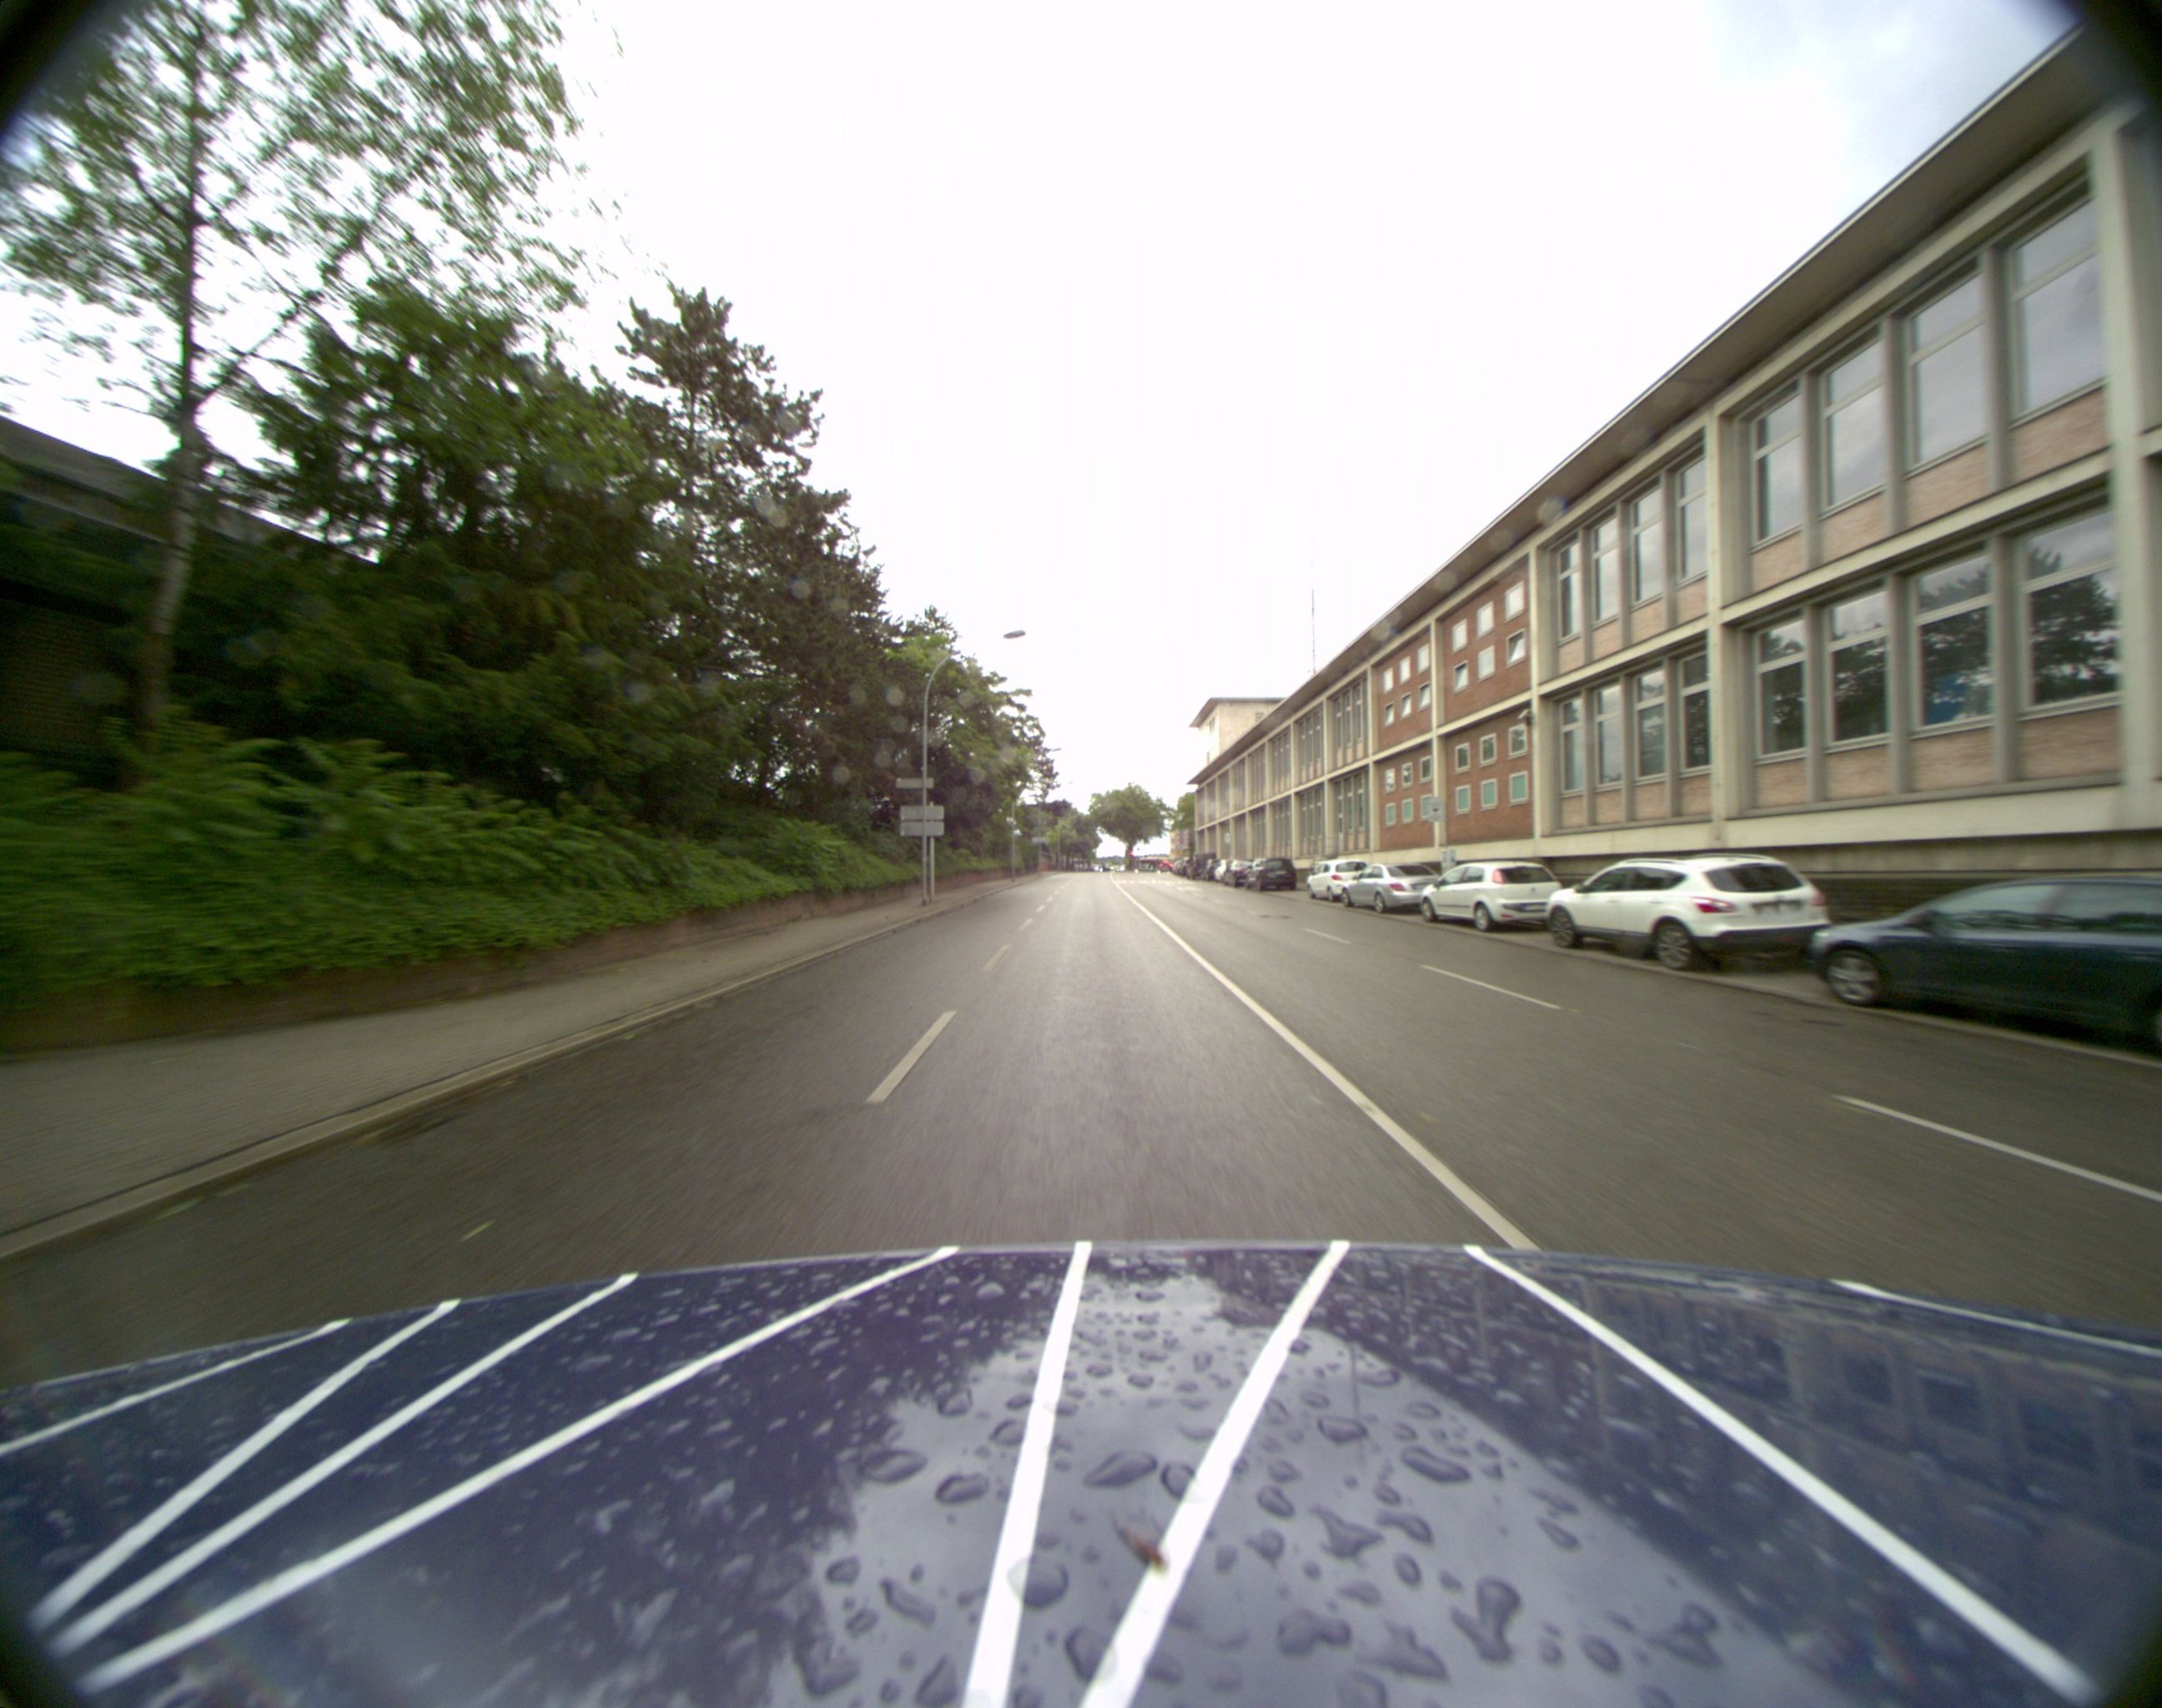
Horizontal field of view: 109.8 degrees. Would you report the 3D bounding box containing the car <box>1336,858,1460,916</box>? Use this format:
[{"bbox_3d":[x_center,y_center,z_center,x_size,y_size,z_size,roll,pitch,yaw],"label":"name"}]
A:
[{"bbox_3d":[9.327,0.904,22.766,1.752,1.427,4.485,-2,0,-1],"label":"car"}]

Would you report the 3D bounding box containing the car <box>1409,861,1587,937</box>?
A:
[{"bbox_3d":[9.417,0.945,17.589,1.752,1.445,4.181,-2,0,-1],"label":"car"}]

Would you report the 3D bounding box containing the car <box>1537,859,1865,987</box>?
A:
[{"bbox_3d":[9.355,0.915,12.022,1.752,1.588,4.181,-2,0,0],"label":"car"}]

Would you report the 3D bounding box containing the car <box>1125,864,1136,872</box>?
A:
[{"bbox_3d":[9.690,2.734,148.840,1.969,1.630,4.360,1,-1,2],"label":"car"}]

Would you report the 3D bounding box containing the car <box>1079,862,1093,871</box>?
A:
[{"bbox_3d":[0.881,2.055,127.912,1.871,1.465,3.829,1,-1,6],"label":"car"}]

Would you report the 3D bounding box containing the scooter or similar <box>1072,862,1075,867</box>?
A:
[{"bbox_3d":[-1.572,2.158,157.121,0.494,1.146,1.546,1,-1,1],"label":"scooter or similar"}]

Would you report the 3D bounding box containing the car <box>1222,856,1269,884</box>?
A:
[{"bbox_3d":[9.306,0.885,43.379,1.820,1.475,4.910,-1,0,2],"label":"car"}]

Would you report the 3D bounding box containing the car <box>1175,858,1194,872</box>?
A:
[{"bbox_3d":[9.979,1.057,73.116,1.546,1.345,4.111,-1,0,4],"label":"car"}]

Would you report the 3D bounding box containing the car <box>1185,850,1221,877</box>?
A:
[{"bbox_3d":[9.409,0.696,58.897,1.954,1.932,4.996,-1,0,0],"label":"car"}]

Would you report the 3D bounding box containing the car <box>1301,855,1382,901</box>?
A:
[{"bbox_3d":[9.547,0.826,28.149,1.683,1.514,3.920,-1,0,0],"label":"car"}]

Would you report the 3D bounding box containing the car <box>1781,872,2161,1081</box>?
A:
[{"bbox_3d":[9.191,0.988,6.898,1.752,1.471,4.181,-2,0,-1],"label":"car"}]

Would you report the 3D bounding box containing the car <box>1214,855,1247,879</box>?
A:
[{"bbox_3d":[9.578,0.846,48.911,1.570,1.475,3.553,0,0,2],"label":"car"}]

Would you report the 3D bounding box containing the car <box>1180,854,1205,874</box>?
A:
[{"bbox_3d":[9.871,0.890,67.670,1.801,1.666,4.604,-1,0,3],"label":"car"}]

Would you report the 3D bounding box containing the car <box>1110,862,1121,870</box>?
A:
[{"bbox_3d":[7.300,2.562,160.473,1.983,1.437,3.911,2,-1,5],"label":"car"}]

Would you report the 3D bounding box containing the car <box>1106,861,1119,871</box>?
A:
[{"bbox_3d":[5.310,2.017,126.954,1.871,1.465,3.829,1,-1,6],"label":"car"}]

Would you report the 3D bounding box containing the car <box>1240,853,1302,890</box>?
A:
[{"bbox_3d":[9.271,0.802,37.468,1.846,1.643,4.515,-2,1,0],"label":"car"}]

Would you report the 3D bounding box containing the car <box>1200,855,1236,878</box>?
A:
[{"bbox_3d":[9.627,0.847,53.634,1.865,1.542,4.313,0,0,2],"label":"car"}]

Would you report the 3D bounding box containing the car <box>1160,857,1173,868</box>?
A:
[{"bbox_3d":[12.584,1.220,112.190,1.825,1.651,4.339,0,0,6],"label":"car"}]

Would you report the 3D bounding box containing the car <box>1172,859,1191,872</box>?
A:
[{"bbox_3d":[10.397,1.145,78.621,1.695,1.290,4.094,-1,0,4],"label":"car"}]
